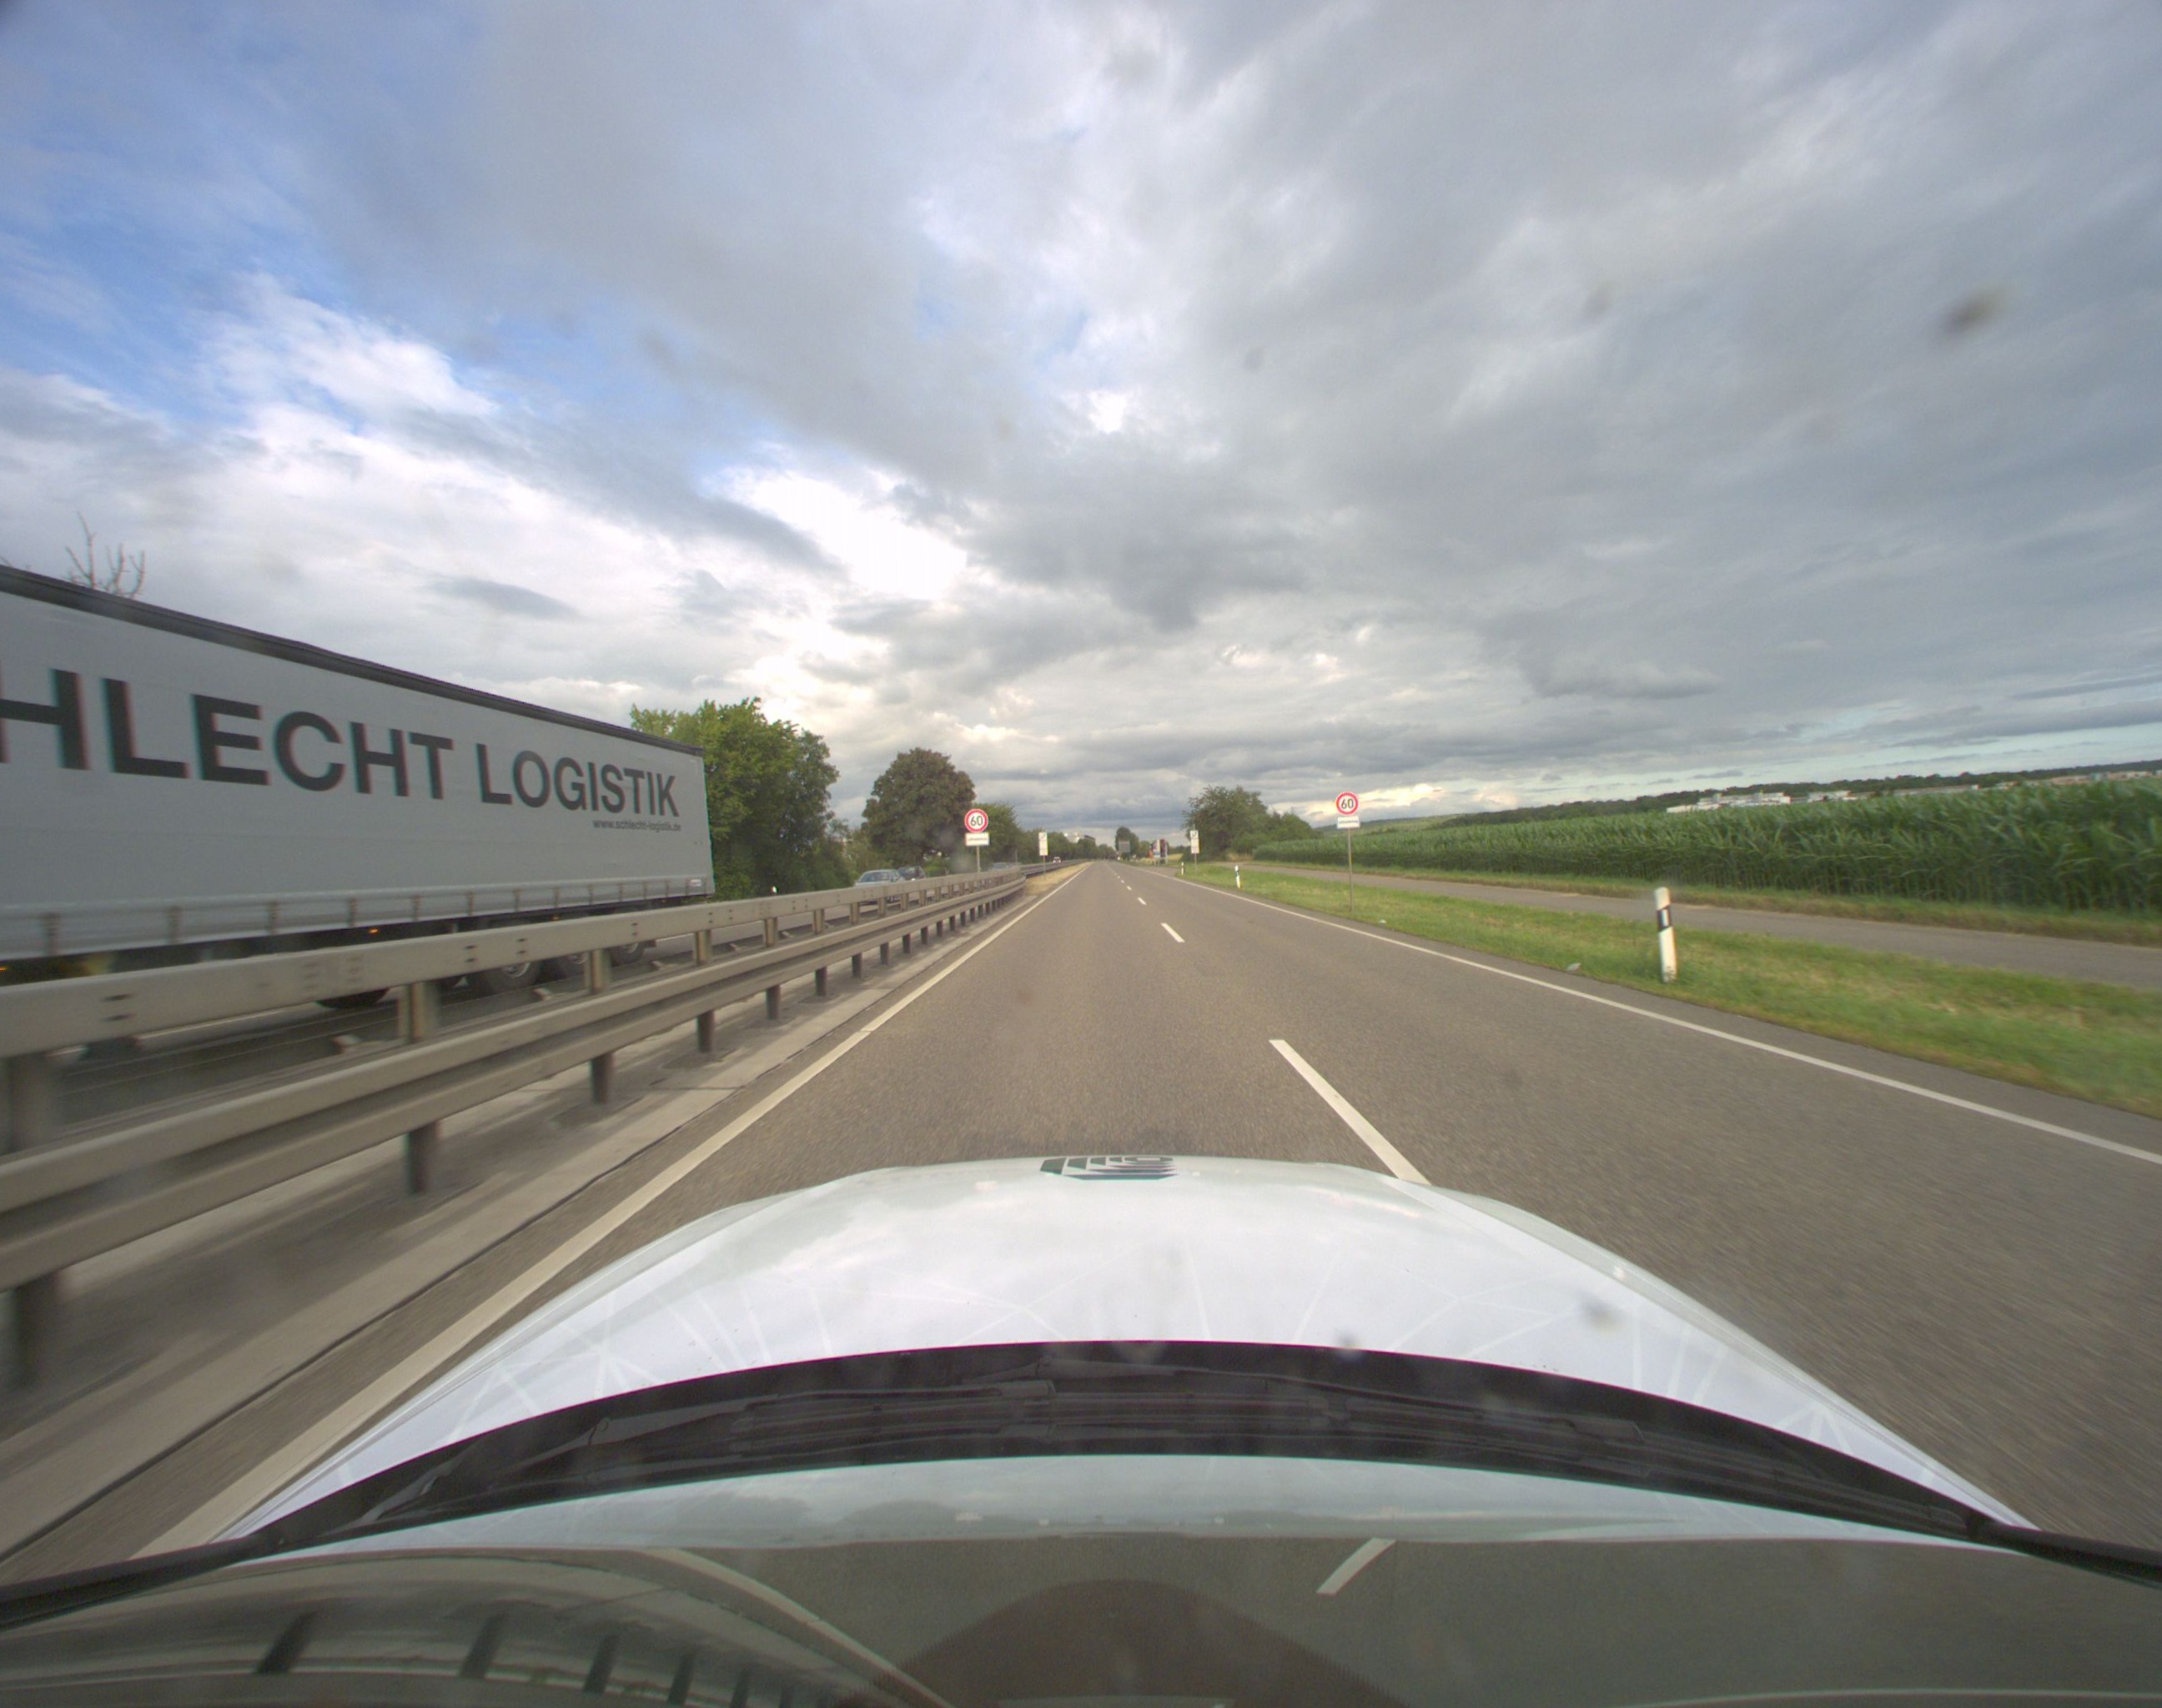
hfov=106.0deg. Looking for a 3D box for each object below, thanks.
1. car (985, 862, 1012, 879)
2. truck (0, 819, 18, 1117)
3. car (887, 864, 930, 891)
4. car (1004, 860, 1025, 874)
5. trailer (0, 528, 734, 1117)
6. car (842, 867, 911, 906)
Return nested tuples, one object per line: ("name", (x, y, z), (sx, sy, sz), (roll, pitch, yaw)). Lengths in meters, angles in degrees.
("car", (-7.823, 1.540, 77.710), (1.860, 1.477, 4.826), (-3, 0, 1))
("truck", (-9.308, -0.159, 2.640), (3.462, 4.150, 6.051), (-4, 0, 1))
("car", (-11.298, 1.502, 53.698), (1.783, 1.573, 4.161), (-3, 0, 1))
("car", (-7.584, 1.481, 92.953), (1.860, 1.477, 4.936), (-3, 0, 1))
("trailer", (-9.194, -0.107, 9.837), (3.453, 4.150, 13.919), (-4, 0, 1))
("car", (-8.683, 1.341, 34.955), (1.783, 1.386, 4.161), (-3, 0, 1))
